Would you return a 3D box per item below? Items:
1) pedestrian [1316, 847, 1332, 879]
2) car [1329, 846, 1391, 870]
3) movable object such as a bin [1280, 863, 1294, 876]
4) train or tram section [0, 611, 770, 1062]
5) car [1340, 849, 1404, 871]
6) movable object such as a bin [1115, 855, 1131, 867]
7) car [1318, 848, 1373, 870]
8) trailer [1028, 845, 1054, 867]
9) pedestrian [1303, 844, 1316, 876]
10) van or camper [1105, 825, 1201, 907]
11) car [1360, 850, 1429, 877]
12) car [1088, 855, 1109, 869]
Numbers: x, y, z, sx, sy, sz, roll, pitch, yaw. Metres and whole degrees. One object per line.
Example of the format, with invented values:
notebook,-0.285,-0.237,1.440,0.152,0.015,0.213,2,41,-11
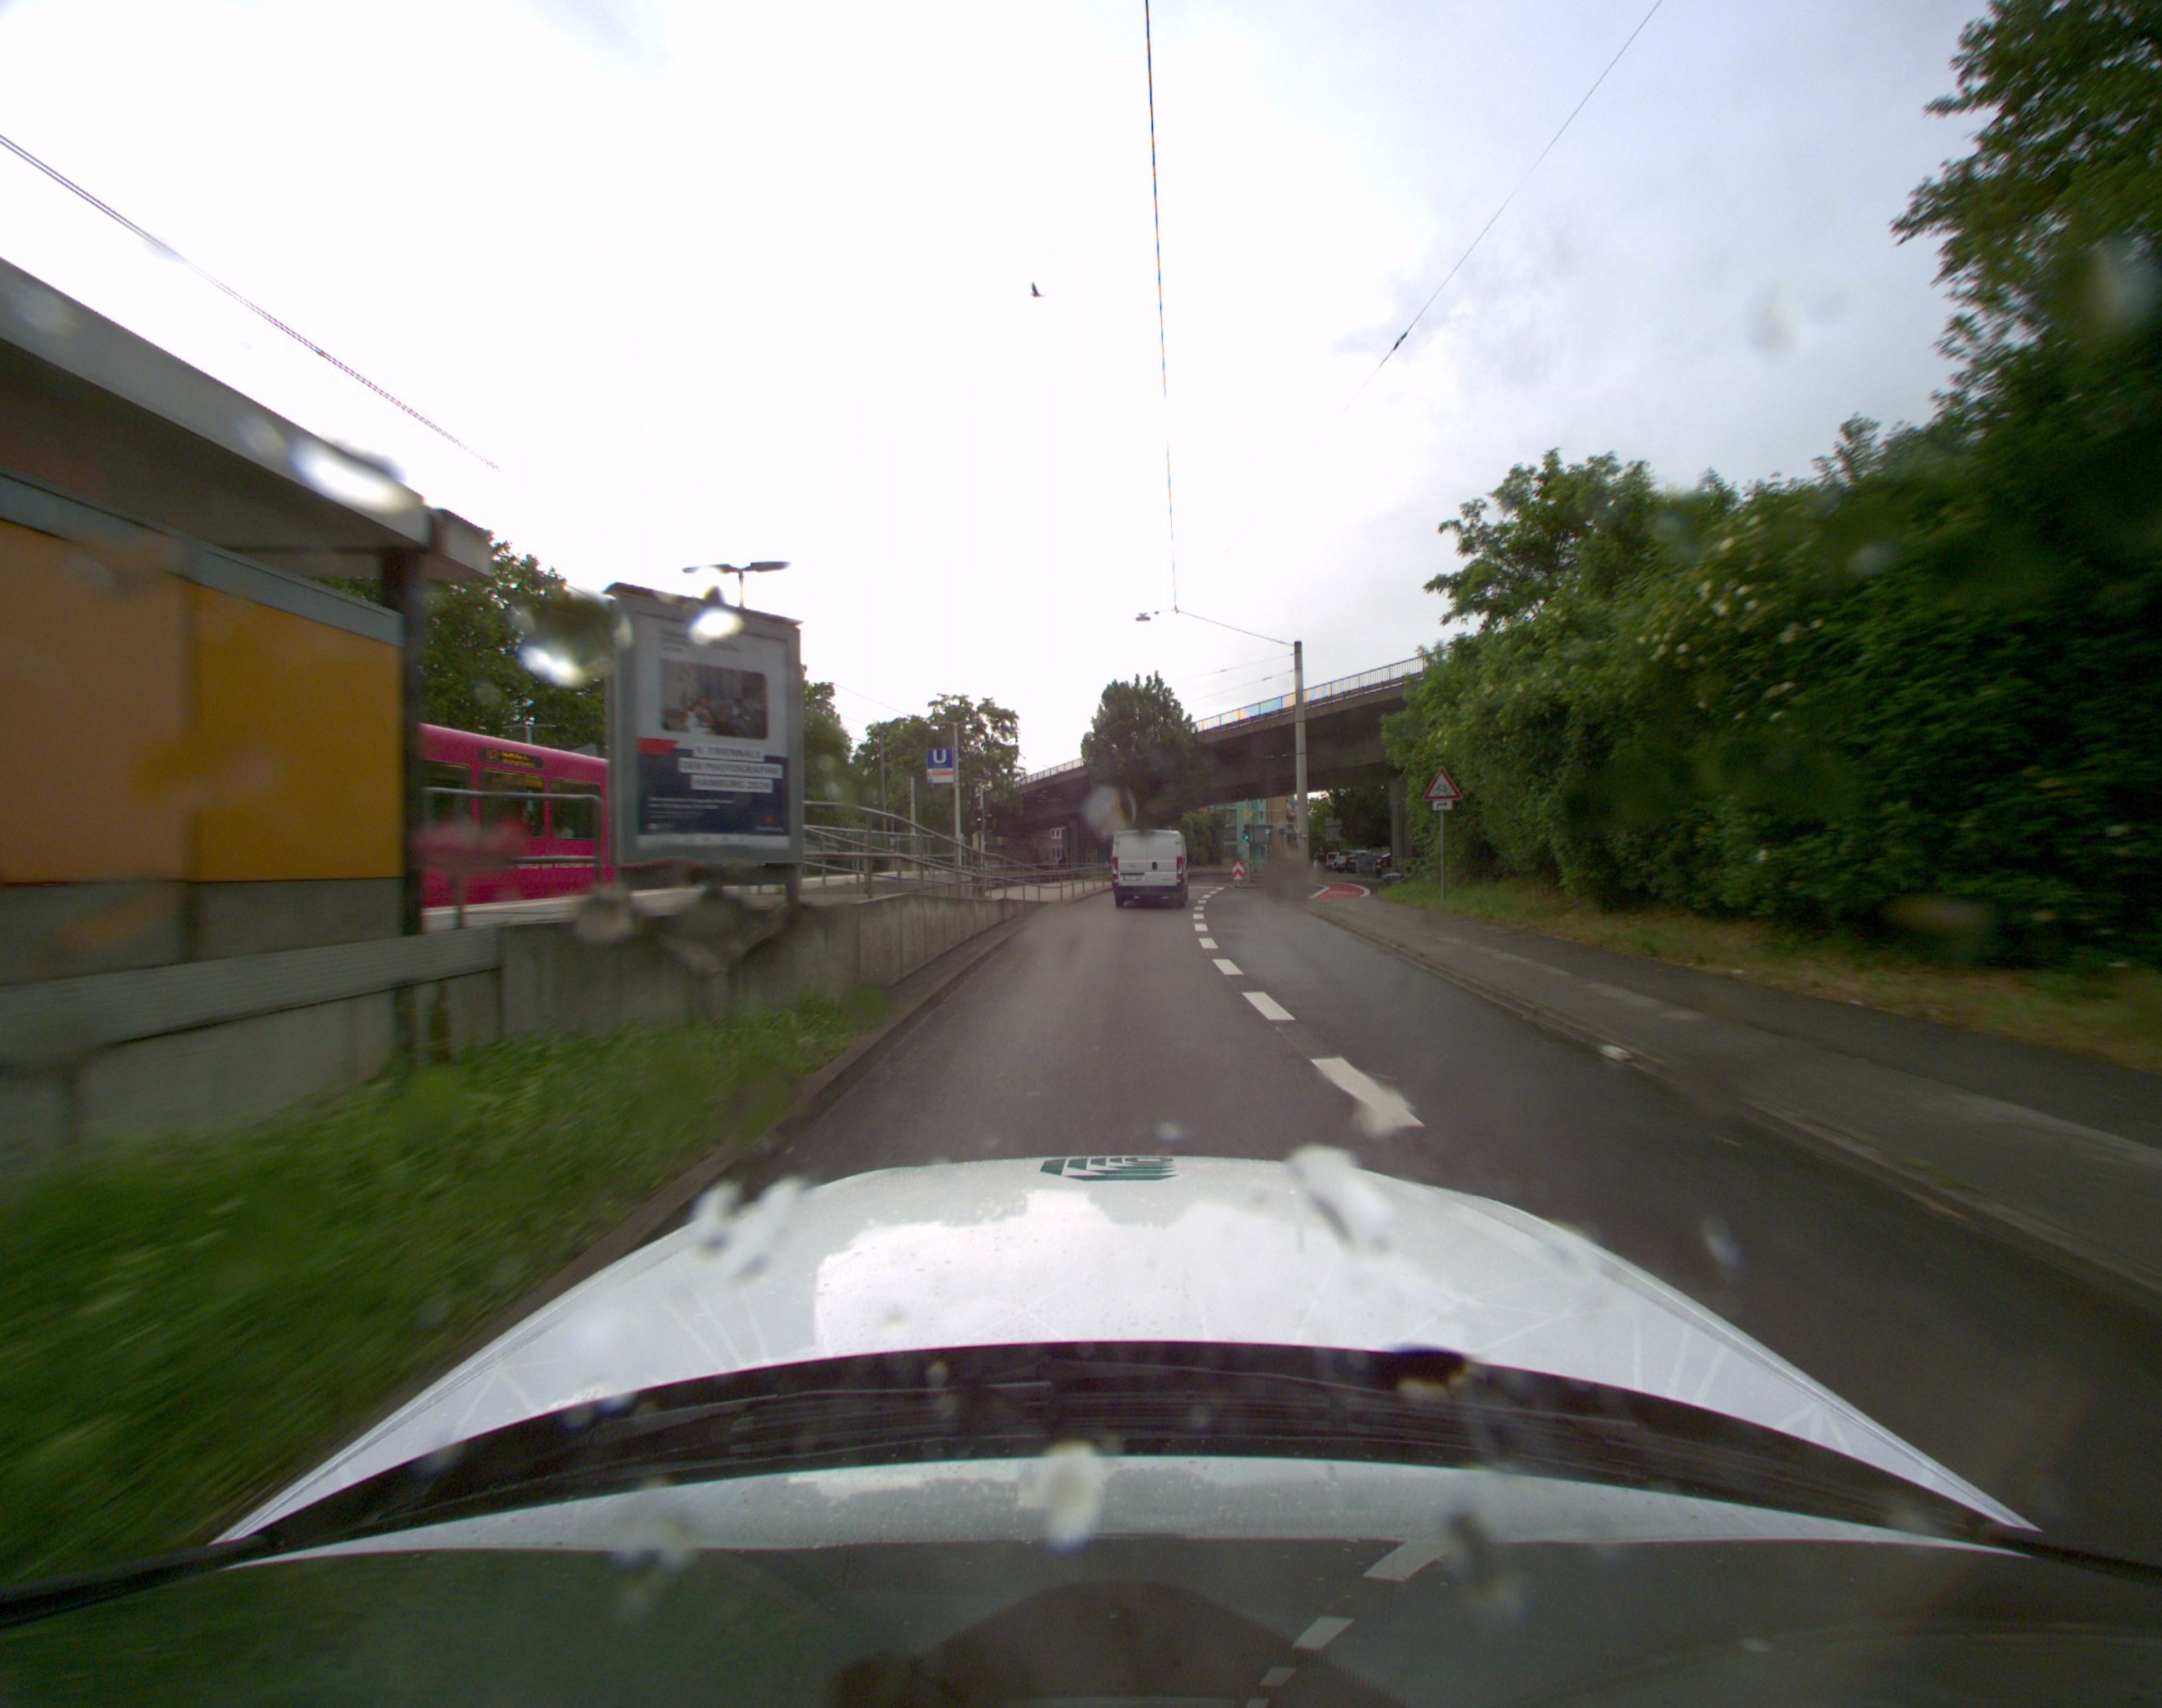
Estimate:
pedestrian,14.018,0.517,47.016,0.595,1.822,0.909,1,-1,-1
car,19.643,0.309,57.396,4.034,1.631,1.949,0,-1,-28
movable object such as a bin,36.545,2.791,144.633,2.114,2.157,1.812,1,0,25
train or tram section,-10.760,-0.064,14.010,2.857,3.961,19.334,1,-1,1
car,19.426,0.410,54.383,4.060,1.439,1.771,0,0,-28
movable object such as a bin,5.377,0.881,104.339,1.563,1.479,1.789,1,0,-22
car,19.515,0.372,60.064,3.745,1.522,1.786,0,-1,-28
trailer,-5.266,0.256,105.982,2.003,2.725,4.090,1,-1,-24
pedestrian,13.264,0.342,47.193,0.621,1.808,0.838,1,-1,10
van or camper,2.329,0.367,25.079,2.183,2.253,4.701,1,-1,14
car,19.901,0.597,51.668,4.007,1.572,1.889,2,-1,-26
car,2.245,1.058,105.305,1.719,1.667,3.179,2,1,-18
